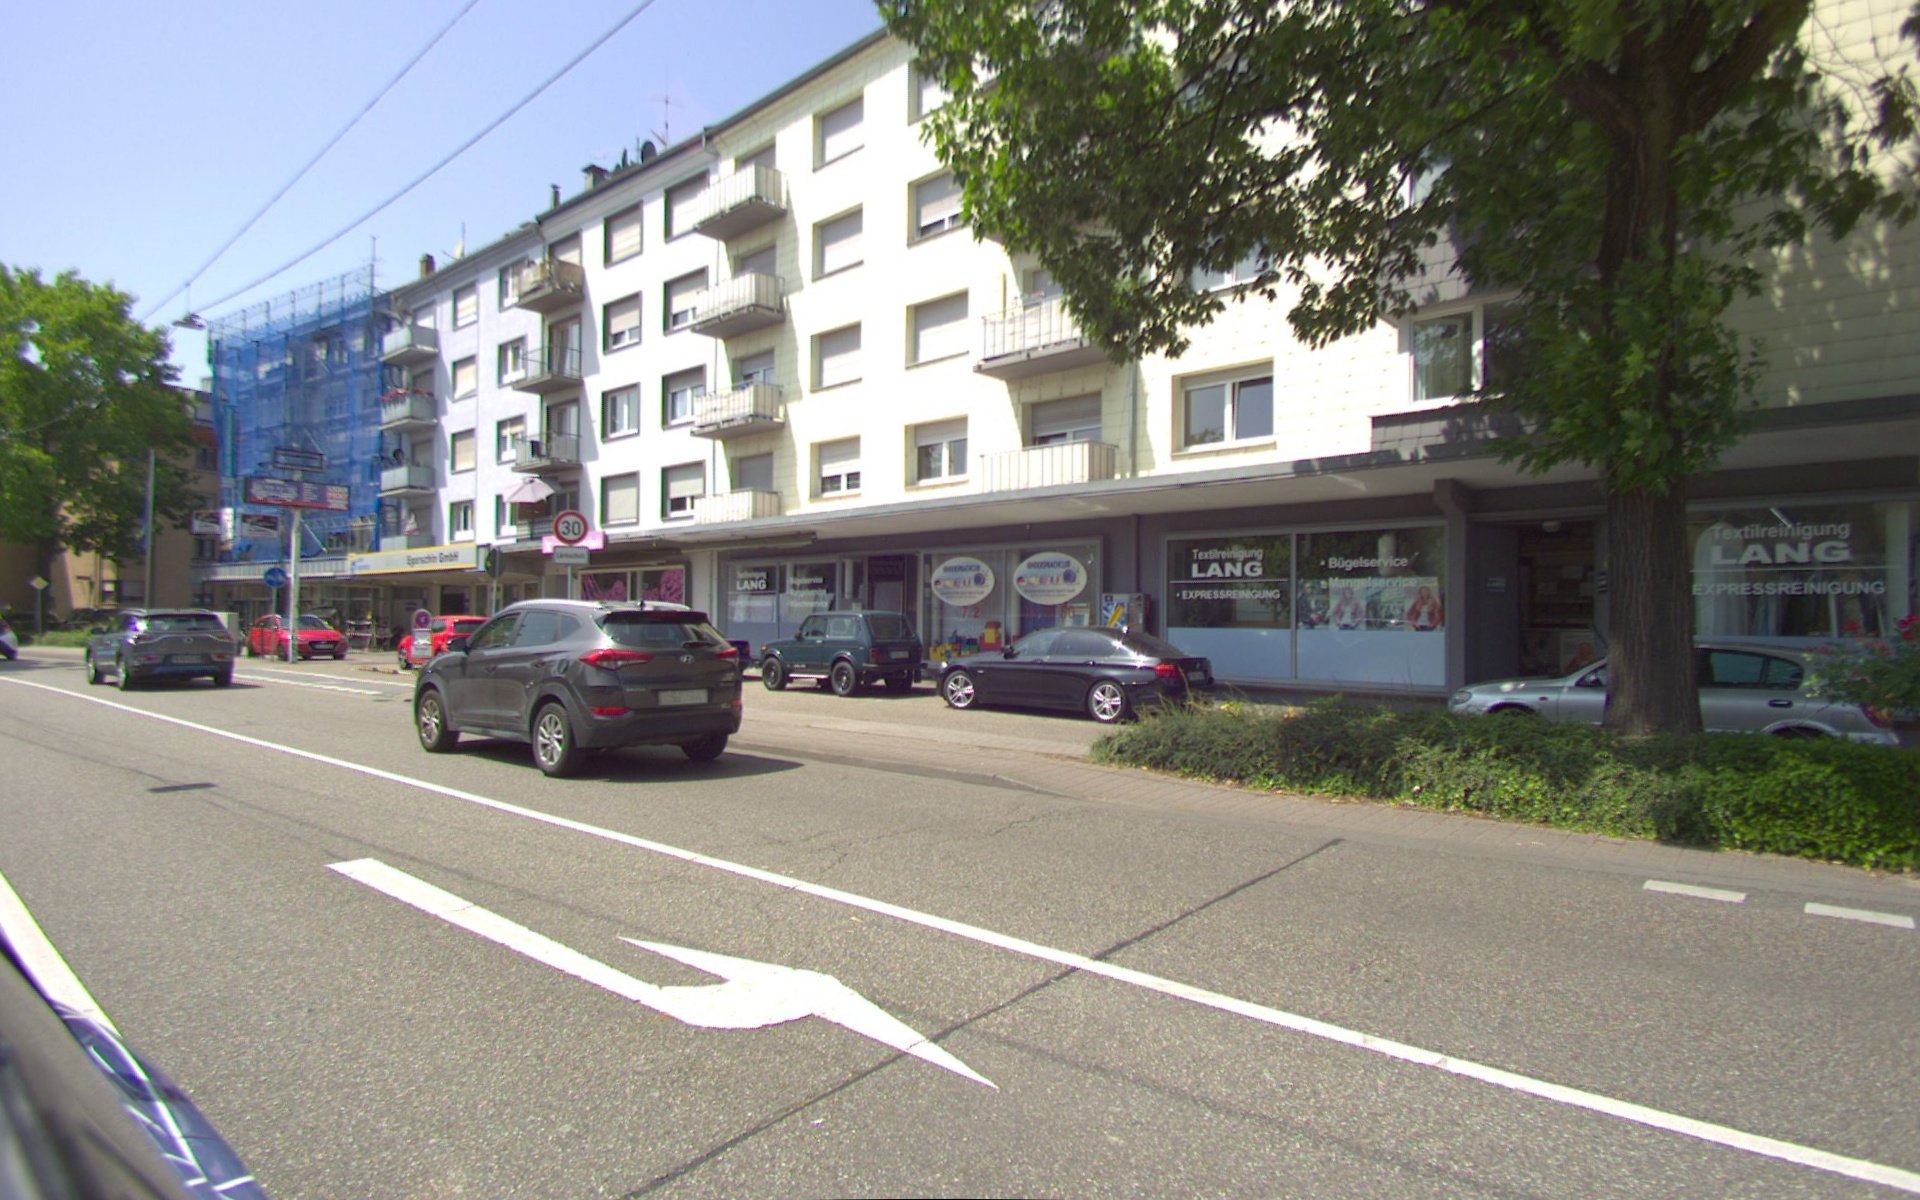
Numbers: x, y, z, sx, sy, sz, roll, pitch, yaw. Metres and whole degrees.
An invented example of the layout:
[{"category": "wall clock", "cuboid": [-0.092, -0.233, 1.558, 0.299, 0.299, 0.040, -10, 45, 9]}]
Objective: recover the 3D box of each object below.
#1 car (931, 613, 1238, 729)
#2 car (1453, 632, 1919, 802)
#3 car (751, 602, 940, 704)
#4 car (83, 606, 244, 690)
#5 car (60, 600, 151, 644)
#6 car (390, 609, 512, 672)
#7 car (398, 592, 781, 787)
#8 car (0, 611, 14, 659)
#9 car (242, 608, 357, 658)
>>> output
[{"category": "car", "cuboid": [1.846, 1.021, 16.212, 4.838, 1.581, 1.605, 0, -1, 42]}, {"category": "car", "cuboid": [7.735, 1.120, 11.085, 3.938, 1.470, 1.566, 0, -1, 41]}, {"category": "car", "cuboid": [-2.367, 0.996, 20.336, 3.858, 1.853, 1.622, -1, -1, 41]}, {"category": "car", "cuboid": [-16.927, 0.947, 21.443, 3.997, 1.619, 1.904, 0, -1, 40]}, {"category": "car", "cuboid": [-37.525, 0.960, 44.417, 4.321, 1.819, 1.892, -1, -2, 33]}, {"category": "car", "cuboid": [-13.323, 1.021, 26.395, 3.634, 1.479, 1.617, 0, -1, 42]}, {"category": "car", "cuboid": [-4.031, 0.816, 10.717, 4.222, 1.651, 1.960, -1, -2, 40]}, {"category": "car", "cuboid": [-31.738, 1.117, 32.203, 3.549, 1.482, 1.687, -1, -1, 34]}, {"category": "car", "cuboid": [-21.555, 1.063, 32.978, 4.329, 1.531, 1.889, -1, -2, 39]}]
